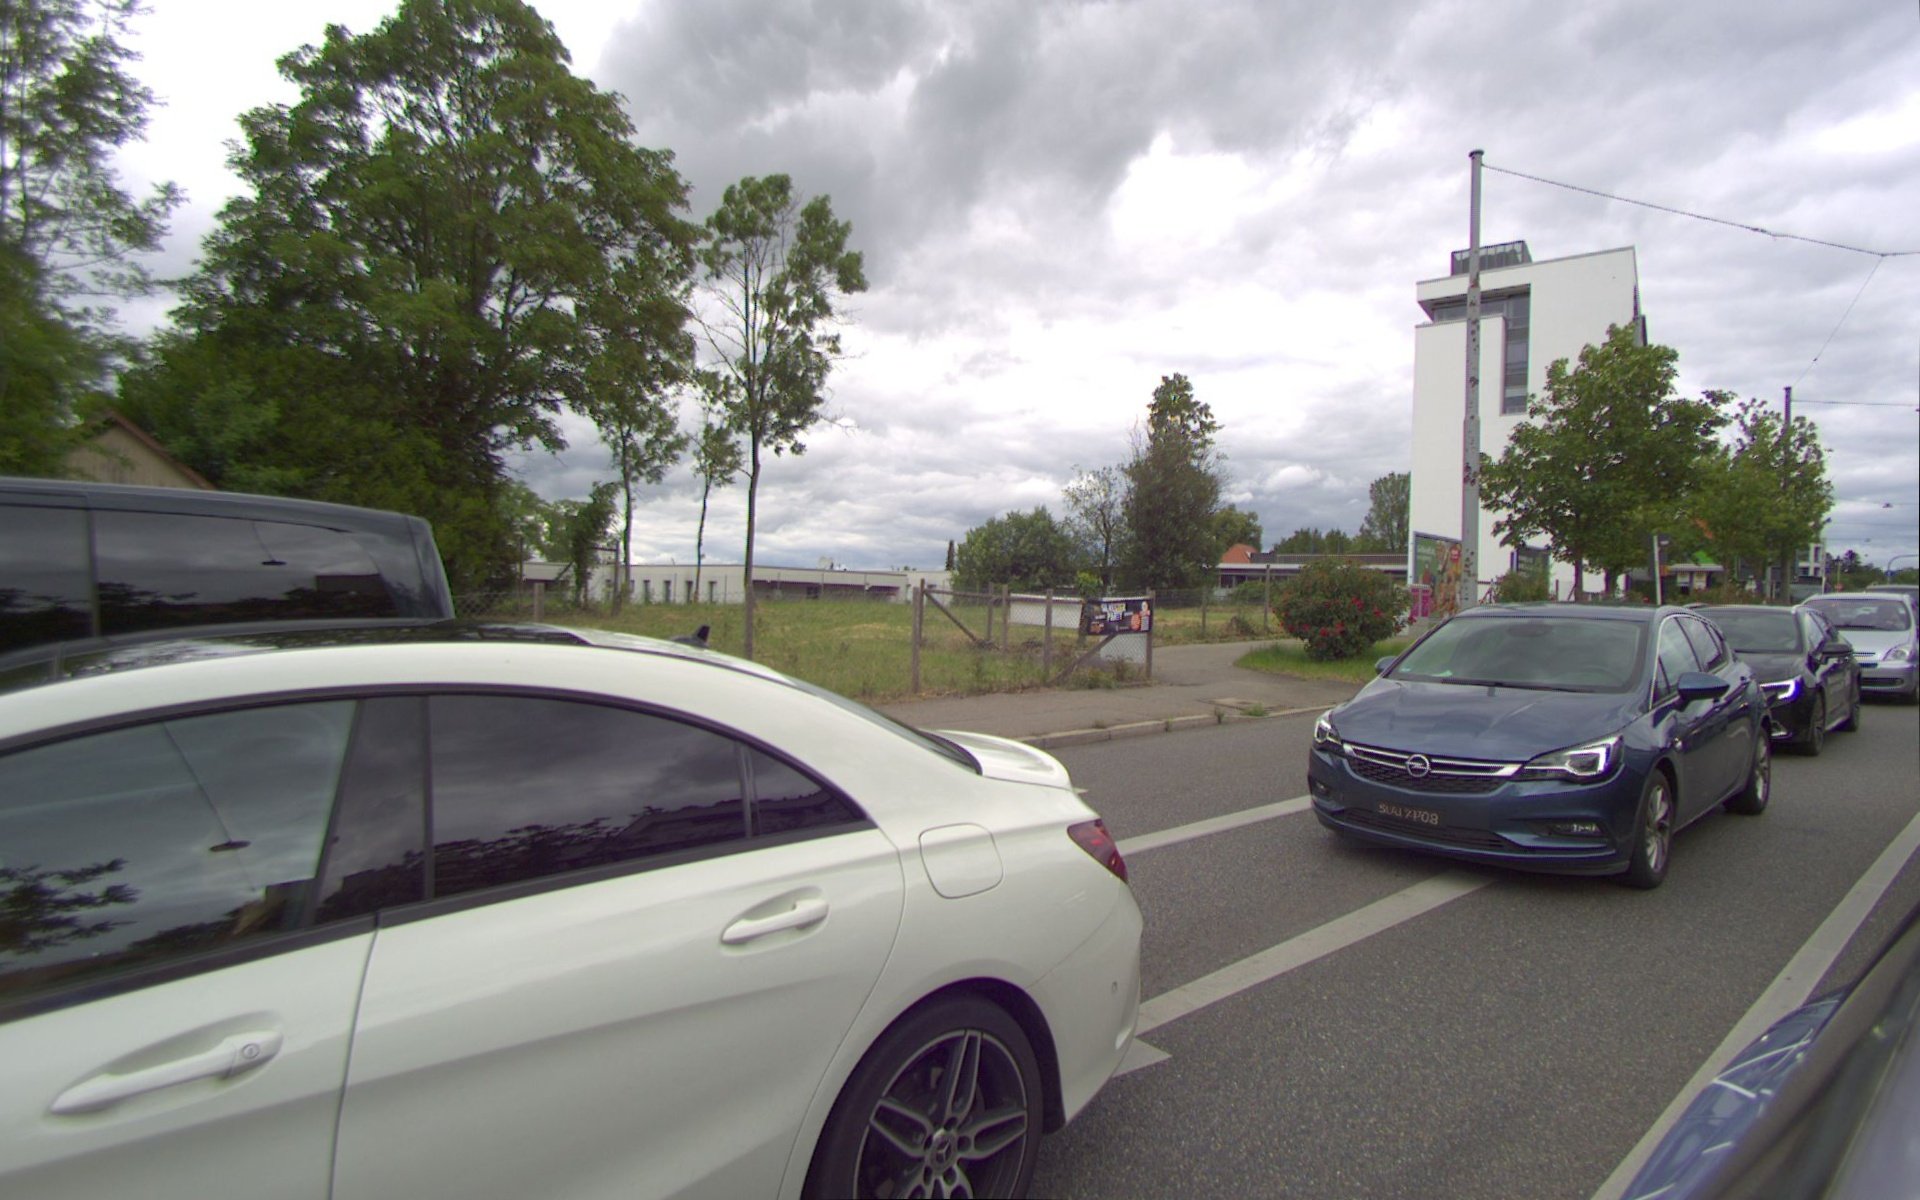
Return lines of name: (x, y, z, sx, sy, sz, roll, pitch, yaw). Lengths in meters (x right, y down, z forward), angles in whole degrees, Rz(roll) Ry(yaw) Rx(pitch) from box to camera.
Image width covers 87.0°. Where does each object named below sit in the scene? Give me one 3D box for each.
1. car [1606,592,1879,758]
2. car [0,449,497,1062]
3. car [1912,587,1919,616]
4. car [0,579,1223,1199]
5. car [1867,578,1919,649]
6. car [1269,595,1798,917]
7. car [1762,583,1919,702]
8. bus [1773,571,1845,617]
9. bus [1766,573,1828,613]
car: (8.516, 0.652, 10.901, 3.854, 1.475, 1.663, 0, 0, -42)
car: (-4.215, 0.479, 3.247, 4.627, 1.863, 1.952, 0, 0, -41)
car: (58.433, 0.046, 60.515, 1.991, 1.705, 3.941, -2, -1, 41)
car: (-1.484, 0.700, 1.858, 4.301, 1.451, 1.652, 0, 2, -41)
car: (27.483, 0.359, 29.041, 4.068, 1.910, 1.848, 0, -1, -44)
car: (3.863, 0.687, 6.525, 3.931, 1.428, 1.825, 0, 0, -42)
car: (13.985, 0.579, 15.646, 3.717, 1.637, 1.849, 0, -1, -41)
bus: (54.005, -0.401, 64.619, 2.952, 2.664, 11.986, 0, 1, 37)
bus: (61.472, -0.548, 74.519, 2.952, 2.664, 12.751, 0, 1, 37)
